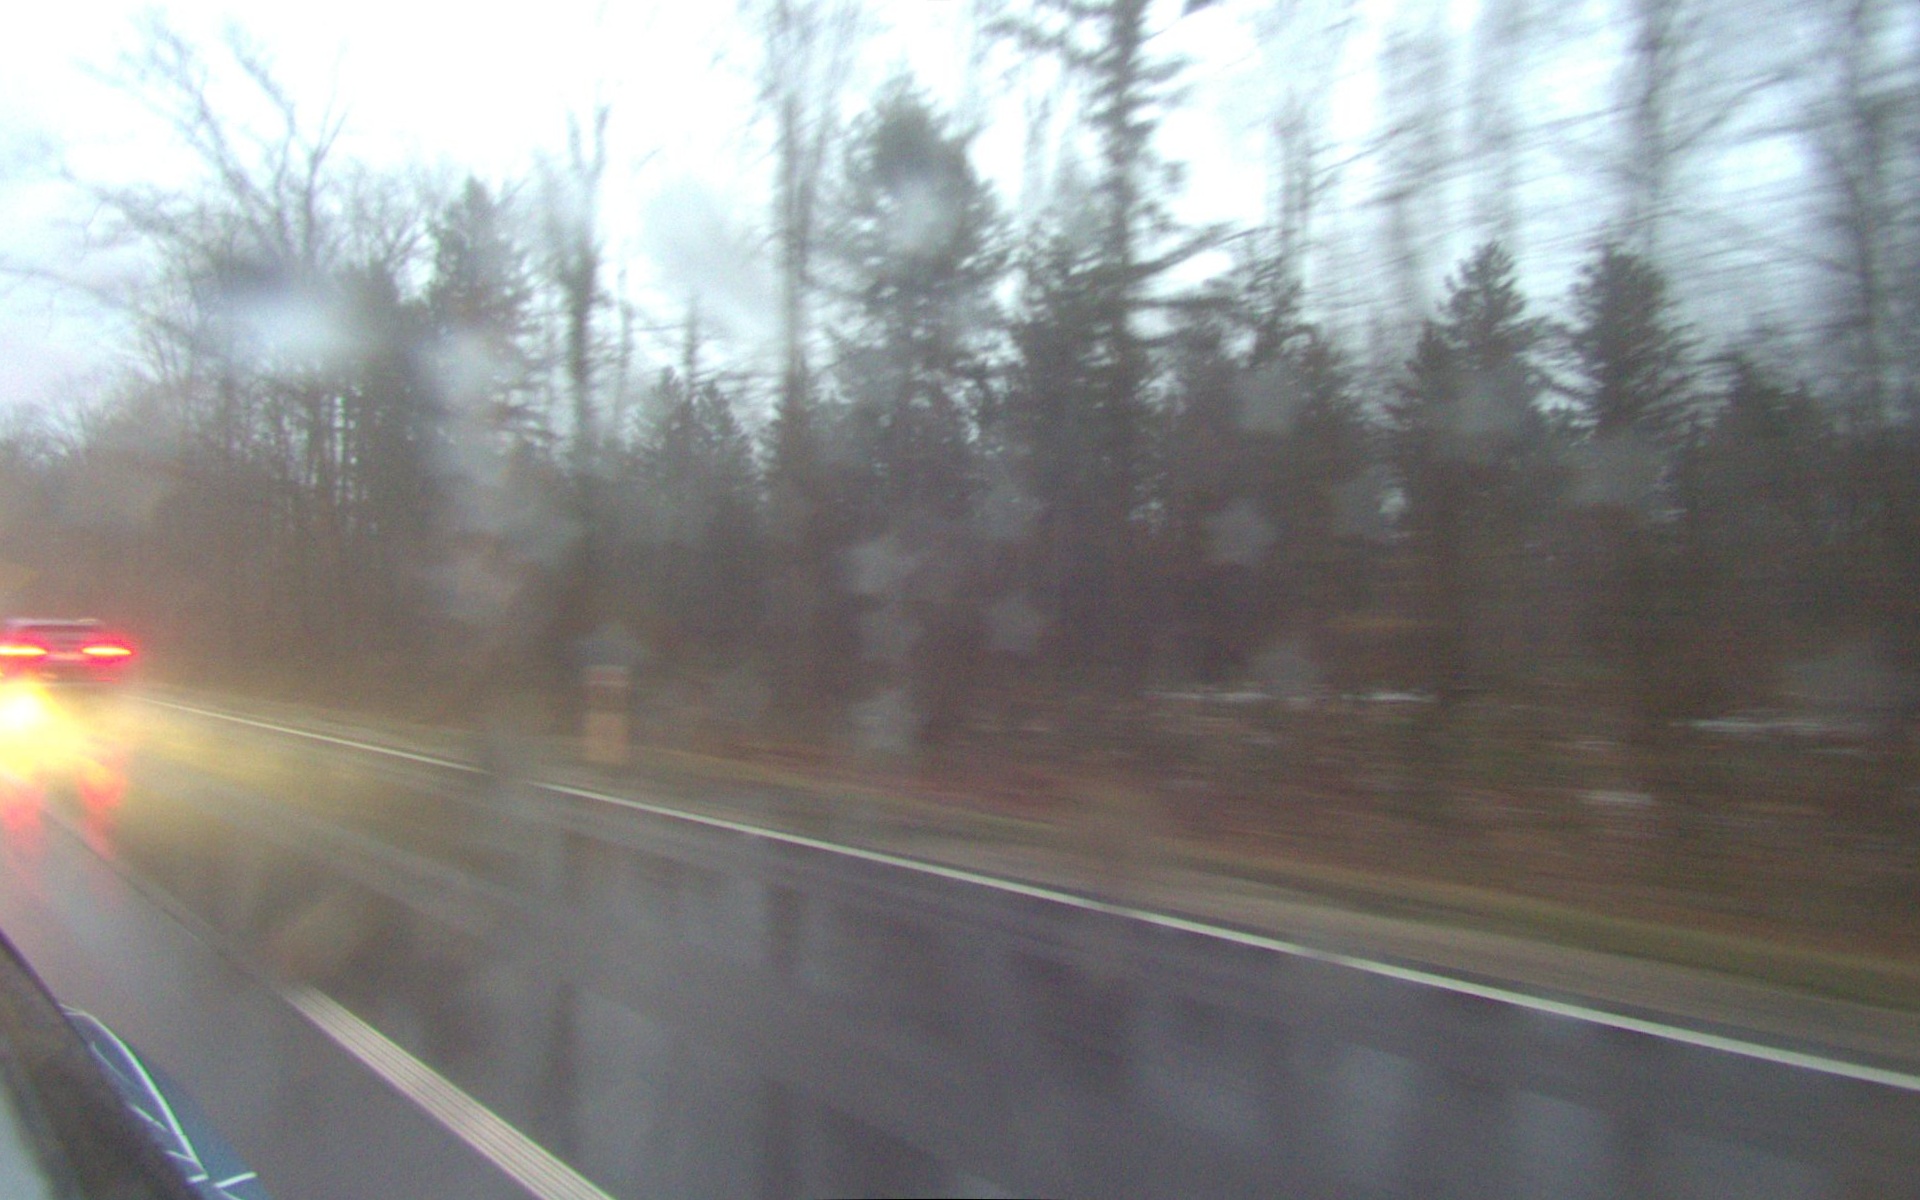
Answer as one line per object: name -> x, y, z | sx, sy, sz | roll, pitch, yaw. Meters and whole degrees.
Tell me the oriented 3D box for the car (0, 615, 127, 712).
car -> -17.175, 1.106, 18.816 | 4.152, 1.628, 2.053 | -1, -2, 43
